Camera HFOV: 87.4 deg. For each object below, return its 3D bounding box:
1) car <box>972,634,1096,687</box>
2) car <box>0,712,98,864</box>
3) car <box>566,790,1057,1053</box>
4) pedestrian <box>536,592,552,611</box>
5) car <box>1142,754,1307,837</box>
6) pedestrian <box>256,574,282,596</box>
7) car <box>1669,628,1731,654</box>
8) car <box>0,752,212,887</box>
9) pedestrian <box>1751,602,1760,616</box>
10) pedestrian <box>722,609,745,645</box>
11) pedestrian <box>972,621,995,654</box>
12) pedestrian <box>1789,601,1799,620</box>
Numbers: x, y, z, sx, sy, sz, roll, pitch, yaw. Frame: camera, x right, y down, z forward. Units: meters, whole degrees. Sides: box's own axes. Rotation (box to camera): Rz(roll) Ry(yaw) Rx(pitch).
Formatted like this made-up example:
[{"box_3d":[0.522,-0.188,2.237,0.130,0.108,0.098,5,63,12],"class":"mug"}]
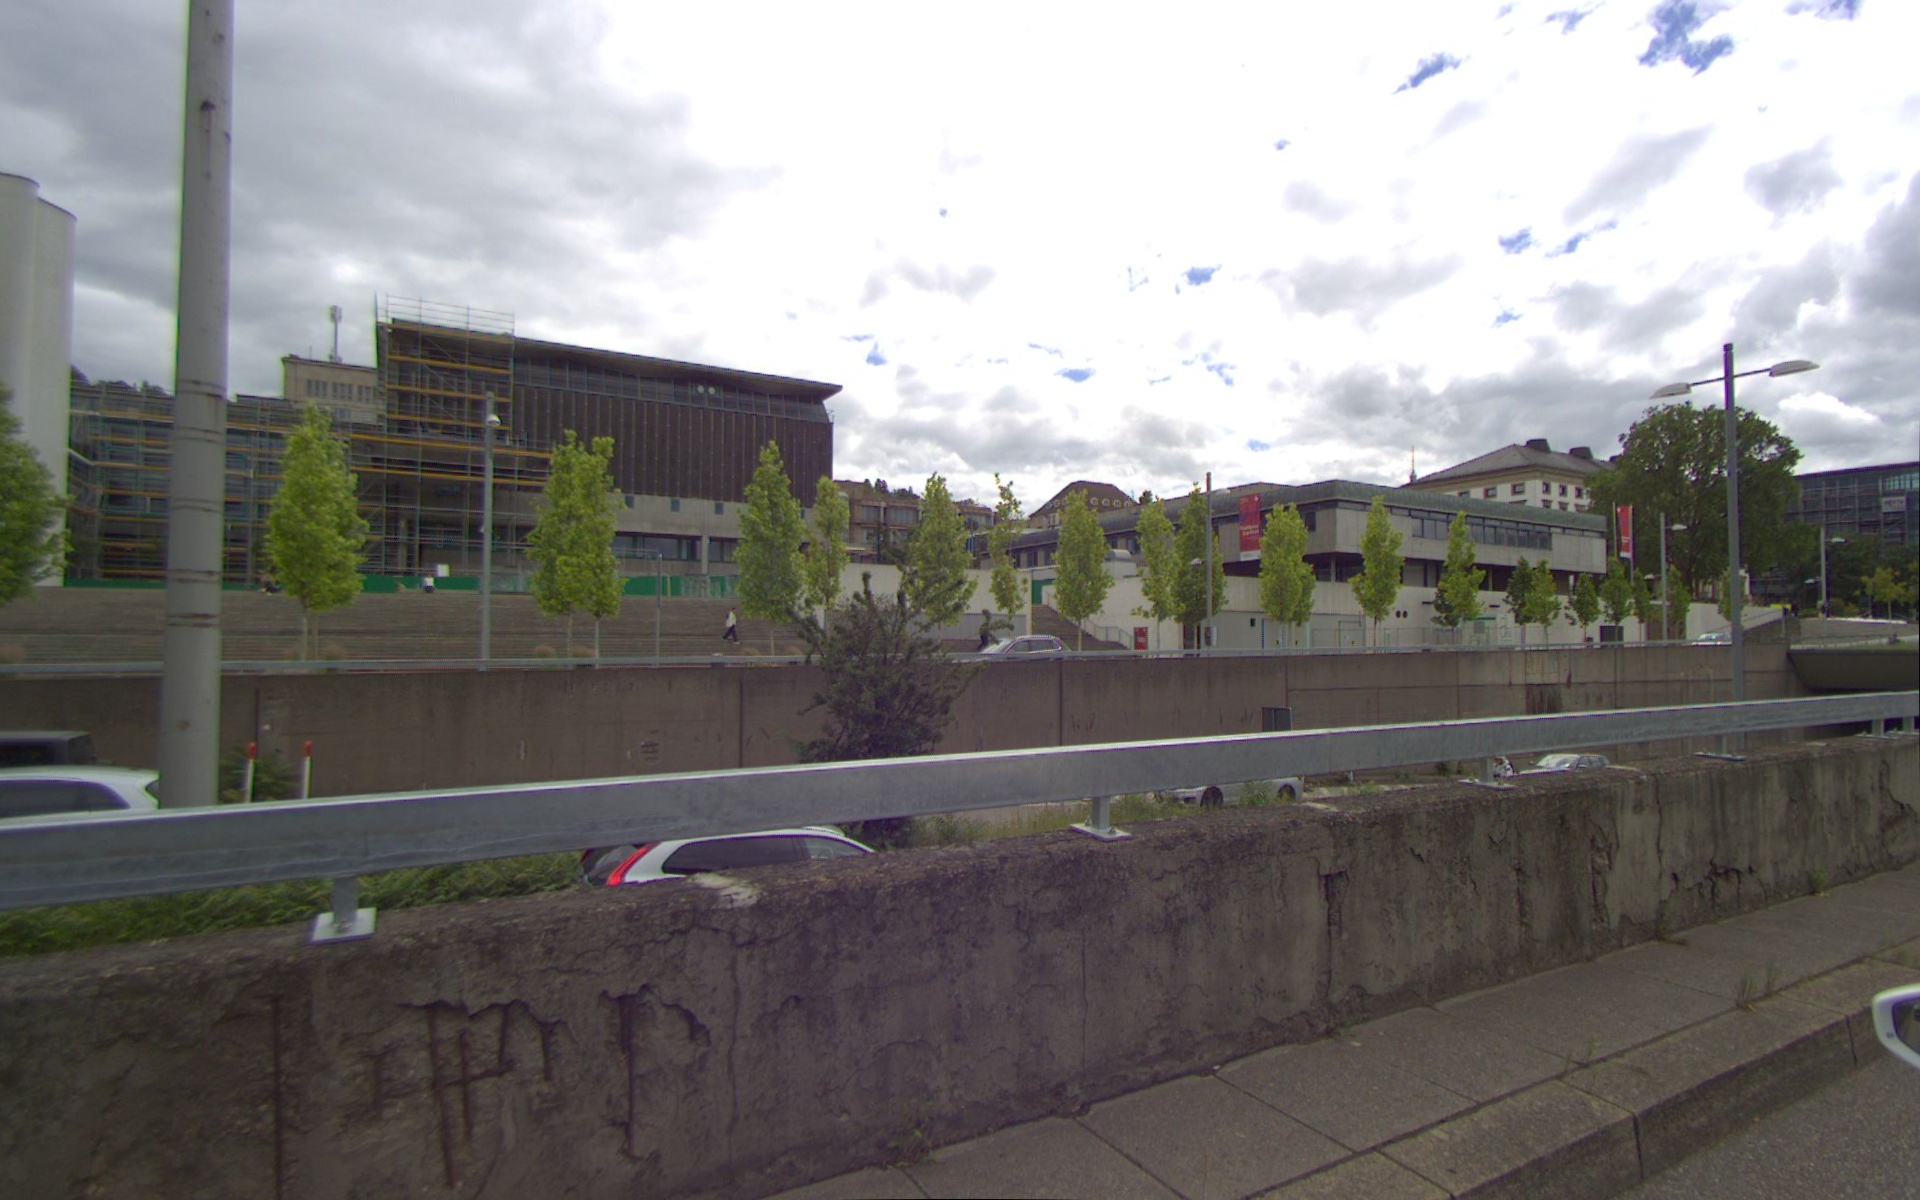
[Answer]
[{"box_3d":[2.294,1.829,31.025,3.481,1.505,1.694,1,-1,-30],"class":"car"},{"box_3d":[-15.250,2.662,13.842,4.852,1.922,1.807,2,-1,-33],"class":"car"},{"box_3d":[-1.469,3.086,10.491,4.682,1.638,1.984,2,-3,-30],"class":"car"},{"box_3d":[-20.278,0.058,48.945,0.649,0.883,0.533,2,-1,-25],"class":"pedestrian"},{"box_3d":[6.961,5.065,26.385,4.166,1.506,1.740,1,1,-30],"class":"car"},{"box_3d":[-30.136,-0.660,43.836,0.849,0.895,0.638,2,3,-30],"class":"pedestrian"},{"box_3d":[45.426,2.504,61.666,3.665,1.446,1.800,2,-1,-31],"class":"car"},{"box_3d":[-11.671,2.670,12.314,3.776,1.289,1.689,3,-1,-30],"class":"car"},{"box_3d":[99.627,1.164,125.766,0.686,1.751,0.636,2,0,-29],"class":"pedestrian"},{"box_3d":[-10.719,1.281,47.474,0.849,1.662,0.638,2,3,-30],"class":"pedestrian"},{"box_3d":[1.264,1.994,53.668,0.991,1.662,0.638,2,3,-30],"class":"pedestrian"},{"box_3d":[77.157,1.003,92.929,0.631,1.751,0.692,1,-1,37],"class":"pedestrian"}]
